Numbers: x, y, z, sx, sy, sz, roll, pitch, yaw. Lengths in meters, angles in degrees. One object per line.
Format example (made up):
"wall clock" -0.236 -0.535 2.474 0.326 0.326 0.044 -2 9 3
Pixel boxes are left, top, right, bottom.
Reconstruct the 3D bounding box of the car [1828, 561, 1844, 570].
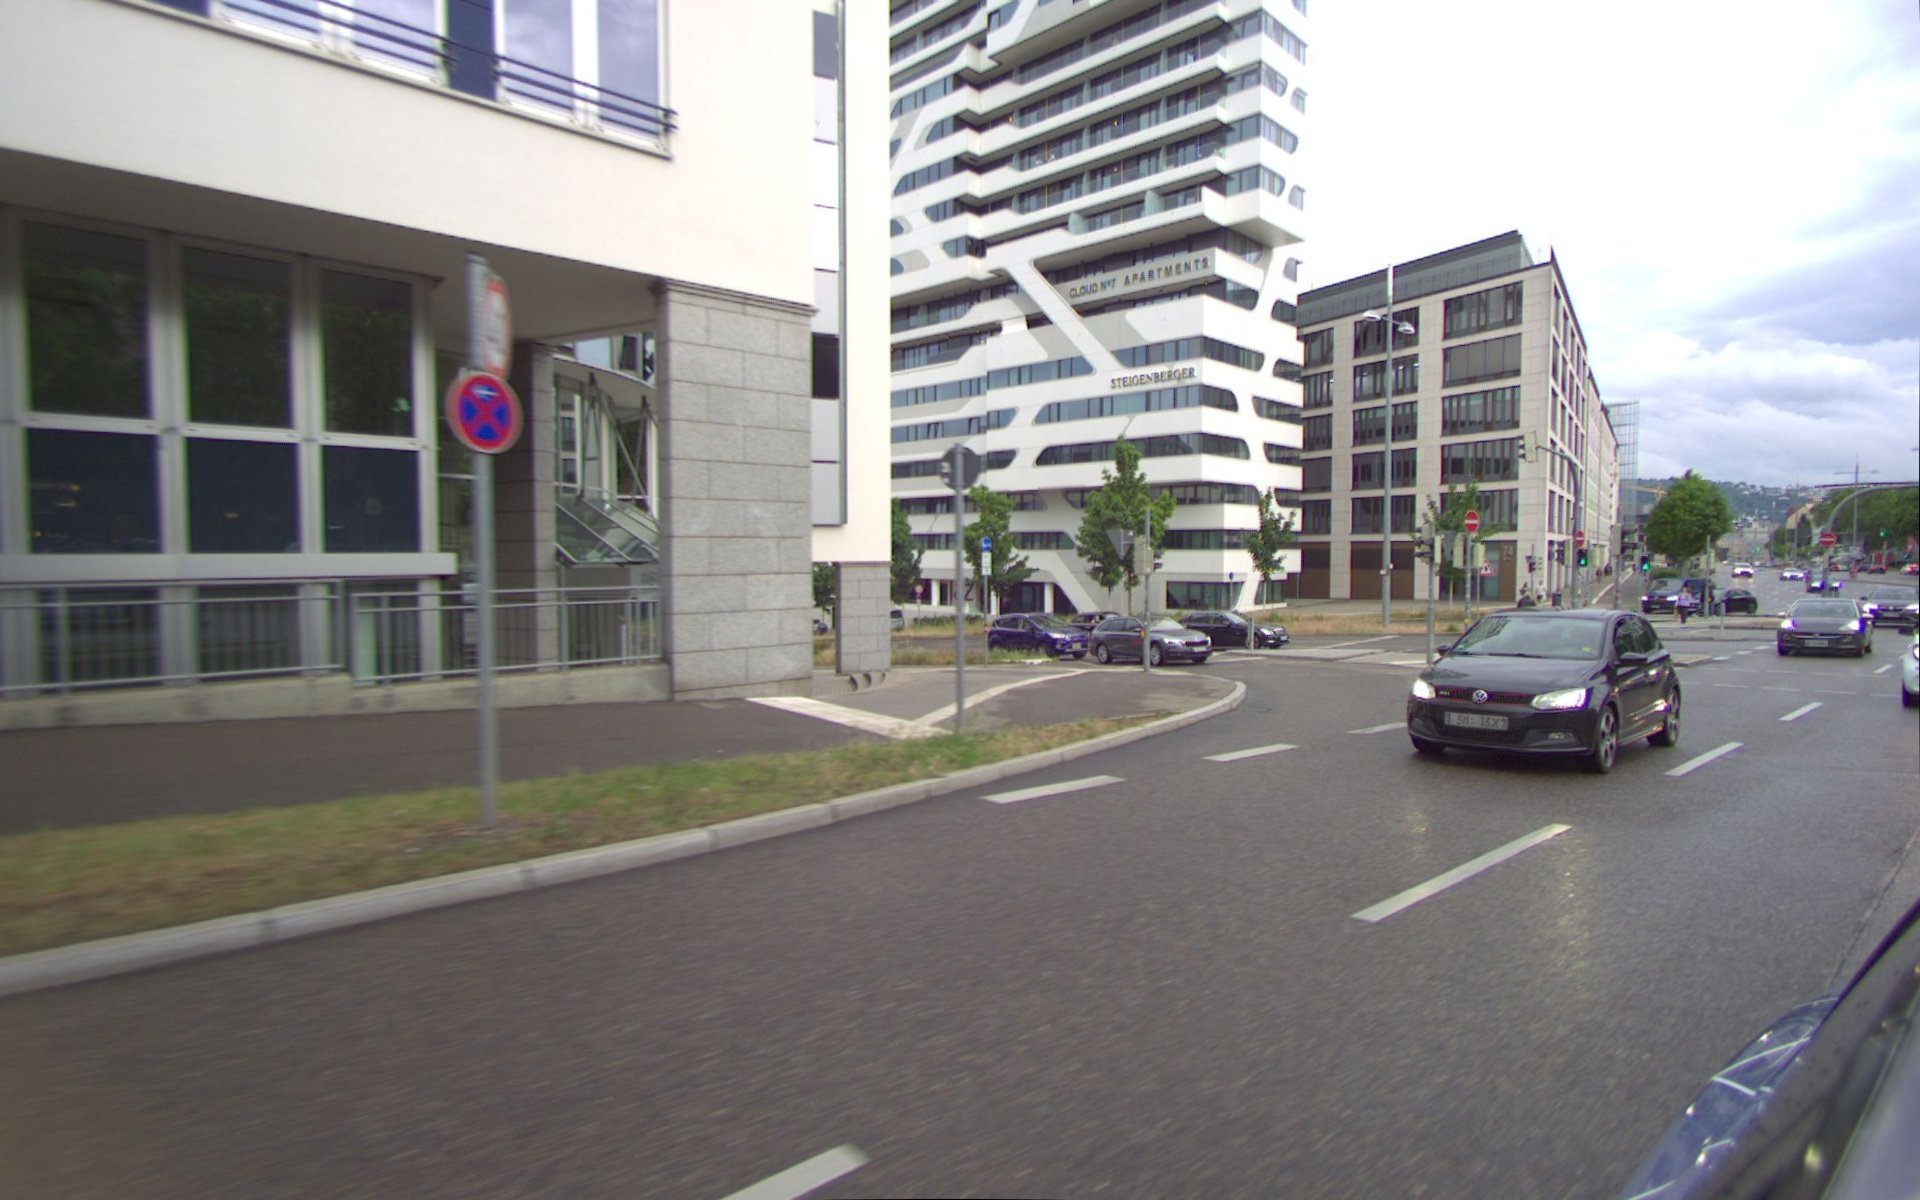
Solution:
"car" 155.453 -6.102 179.563 1.788 1.529 3.950 0 0 35

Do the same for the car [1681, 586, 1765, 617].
"car" 39.661 0.073 52.604 3.917 1.529 1.803 -1 0 -24

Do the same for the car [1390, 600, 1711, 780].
"car" 5.998 0.733 10.111 3.782 1.417 1.676 -1 1 -41

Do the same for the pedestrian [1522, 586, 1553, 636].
"pedestrian" 19.103 0.354 33.497 0.633 1.645 0.707 -1 0 -41

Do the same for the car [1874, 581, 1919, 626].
"car" 37.044 0.116 39.344 3.930 1.687 1.797 -1 0 -41

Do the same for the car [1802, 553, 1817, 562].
"car" 160.262 -7.953 190.914 1.788 1.529 3.950 0 0 35

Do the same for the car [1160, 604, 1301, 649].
"car" 9.437 0.960 35.585 1.827 1.408 4.472 -3 0 -44

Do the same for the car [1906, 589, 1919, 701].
"car" 15.351 0.633 14.872 3.932 1.556 1.797 0 1 -42

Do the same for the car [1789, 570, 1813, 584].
"car" 98.936 -2.673 119.063 1.788 1.529 3.950 0 0 35

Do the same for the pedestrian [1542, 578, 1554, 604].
"pedestrian" 36.422 -0.558 62.710 0.583 1.630 0.597 -1 0 34

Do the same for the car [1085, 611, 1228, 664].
"car" 5.775 1.104 30.361 1.819 1.408 4.491 -1 -1 -26

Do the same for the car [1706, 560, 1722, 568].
"car" 141.852 -6.753 190.406 1.782 1.529 3.965 0 1 26

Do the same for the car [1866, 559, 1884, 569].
"car" 153.041 -5.990 169.292 1.788 1.529 3.950 0 0 35

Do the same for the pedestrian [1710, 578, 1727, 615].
"pedestrian" 36.913 -0.176 49.241 0.601 1.825 0.579 -1 0 40

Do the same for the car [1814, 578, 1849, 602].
"car" 73.419 -0.884 85.320 1.788 1.970 3.950 -1 0 35

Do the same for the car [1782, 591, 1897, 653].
"car" 22.836 0.520 26.248 3.642 1.459 1.749 -1 0 -41

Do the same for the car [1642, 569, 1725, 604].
"car" 40.731 -0.777 56.961 4.202 1.885 1.803 -1 0 -22

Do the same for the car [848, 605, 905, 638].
"car" -6.452 1.620 77.693 4.481 2.409 1.773 0 1 42

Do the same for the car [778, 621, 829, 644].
"car" -13.176 2.664 85.011 4.481 1.765 1.773 0 1 42

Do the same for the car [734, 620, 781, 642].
"car" -17.834 2.696 88.951 4.481 1.765 1.773 0 1 42

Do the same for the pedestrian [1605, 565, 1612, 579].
"pedestrian" 67.458 -2.910 105.229 0.584 1.496 0.597 -1 0 35

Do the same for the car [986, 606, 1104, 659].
"car" 2.934 1.159 36.042 1.821 1.689 4.486 -2 -1 -32

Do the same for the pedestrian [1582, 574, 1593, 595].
"pedestrian" 43.964 -1.092 70.936 0.582 1.496 0.599 -1 0 26

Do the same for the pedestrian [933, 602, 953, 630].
"pedestrian" -1.280 1.207 75.110 1.091 2.039 0.958 0 0 42

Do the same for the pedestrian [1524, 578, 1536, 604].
"pedestrian" 35.775 -0.581 63.496 0.583 1.630 0.597 -1 0 34

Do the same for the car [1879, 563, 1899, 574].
"car" 141.834 -4.782 154.540 1.788 1.529 3.950 0 0 35

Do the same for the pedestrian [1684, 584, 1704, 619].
"pedestrian" 31.711 0.045 43.716 0.582 1.496 0.599 -1 0 26

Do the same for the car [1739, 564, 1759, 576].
"car" 102.514 -3.875 131.526 1.788 1.529 3.950 -1 0 35
